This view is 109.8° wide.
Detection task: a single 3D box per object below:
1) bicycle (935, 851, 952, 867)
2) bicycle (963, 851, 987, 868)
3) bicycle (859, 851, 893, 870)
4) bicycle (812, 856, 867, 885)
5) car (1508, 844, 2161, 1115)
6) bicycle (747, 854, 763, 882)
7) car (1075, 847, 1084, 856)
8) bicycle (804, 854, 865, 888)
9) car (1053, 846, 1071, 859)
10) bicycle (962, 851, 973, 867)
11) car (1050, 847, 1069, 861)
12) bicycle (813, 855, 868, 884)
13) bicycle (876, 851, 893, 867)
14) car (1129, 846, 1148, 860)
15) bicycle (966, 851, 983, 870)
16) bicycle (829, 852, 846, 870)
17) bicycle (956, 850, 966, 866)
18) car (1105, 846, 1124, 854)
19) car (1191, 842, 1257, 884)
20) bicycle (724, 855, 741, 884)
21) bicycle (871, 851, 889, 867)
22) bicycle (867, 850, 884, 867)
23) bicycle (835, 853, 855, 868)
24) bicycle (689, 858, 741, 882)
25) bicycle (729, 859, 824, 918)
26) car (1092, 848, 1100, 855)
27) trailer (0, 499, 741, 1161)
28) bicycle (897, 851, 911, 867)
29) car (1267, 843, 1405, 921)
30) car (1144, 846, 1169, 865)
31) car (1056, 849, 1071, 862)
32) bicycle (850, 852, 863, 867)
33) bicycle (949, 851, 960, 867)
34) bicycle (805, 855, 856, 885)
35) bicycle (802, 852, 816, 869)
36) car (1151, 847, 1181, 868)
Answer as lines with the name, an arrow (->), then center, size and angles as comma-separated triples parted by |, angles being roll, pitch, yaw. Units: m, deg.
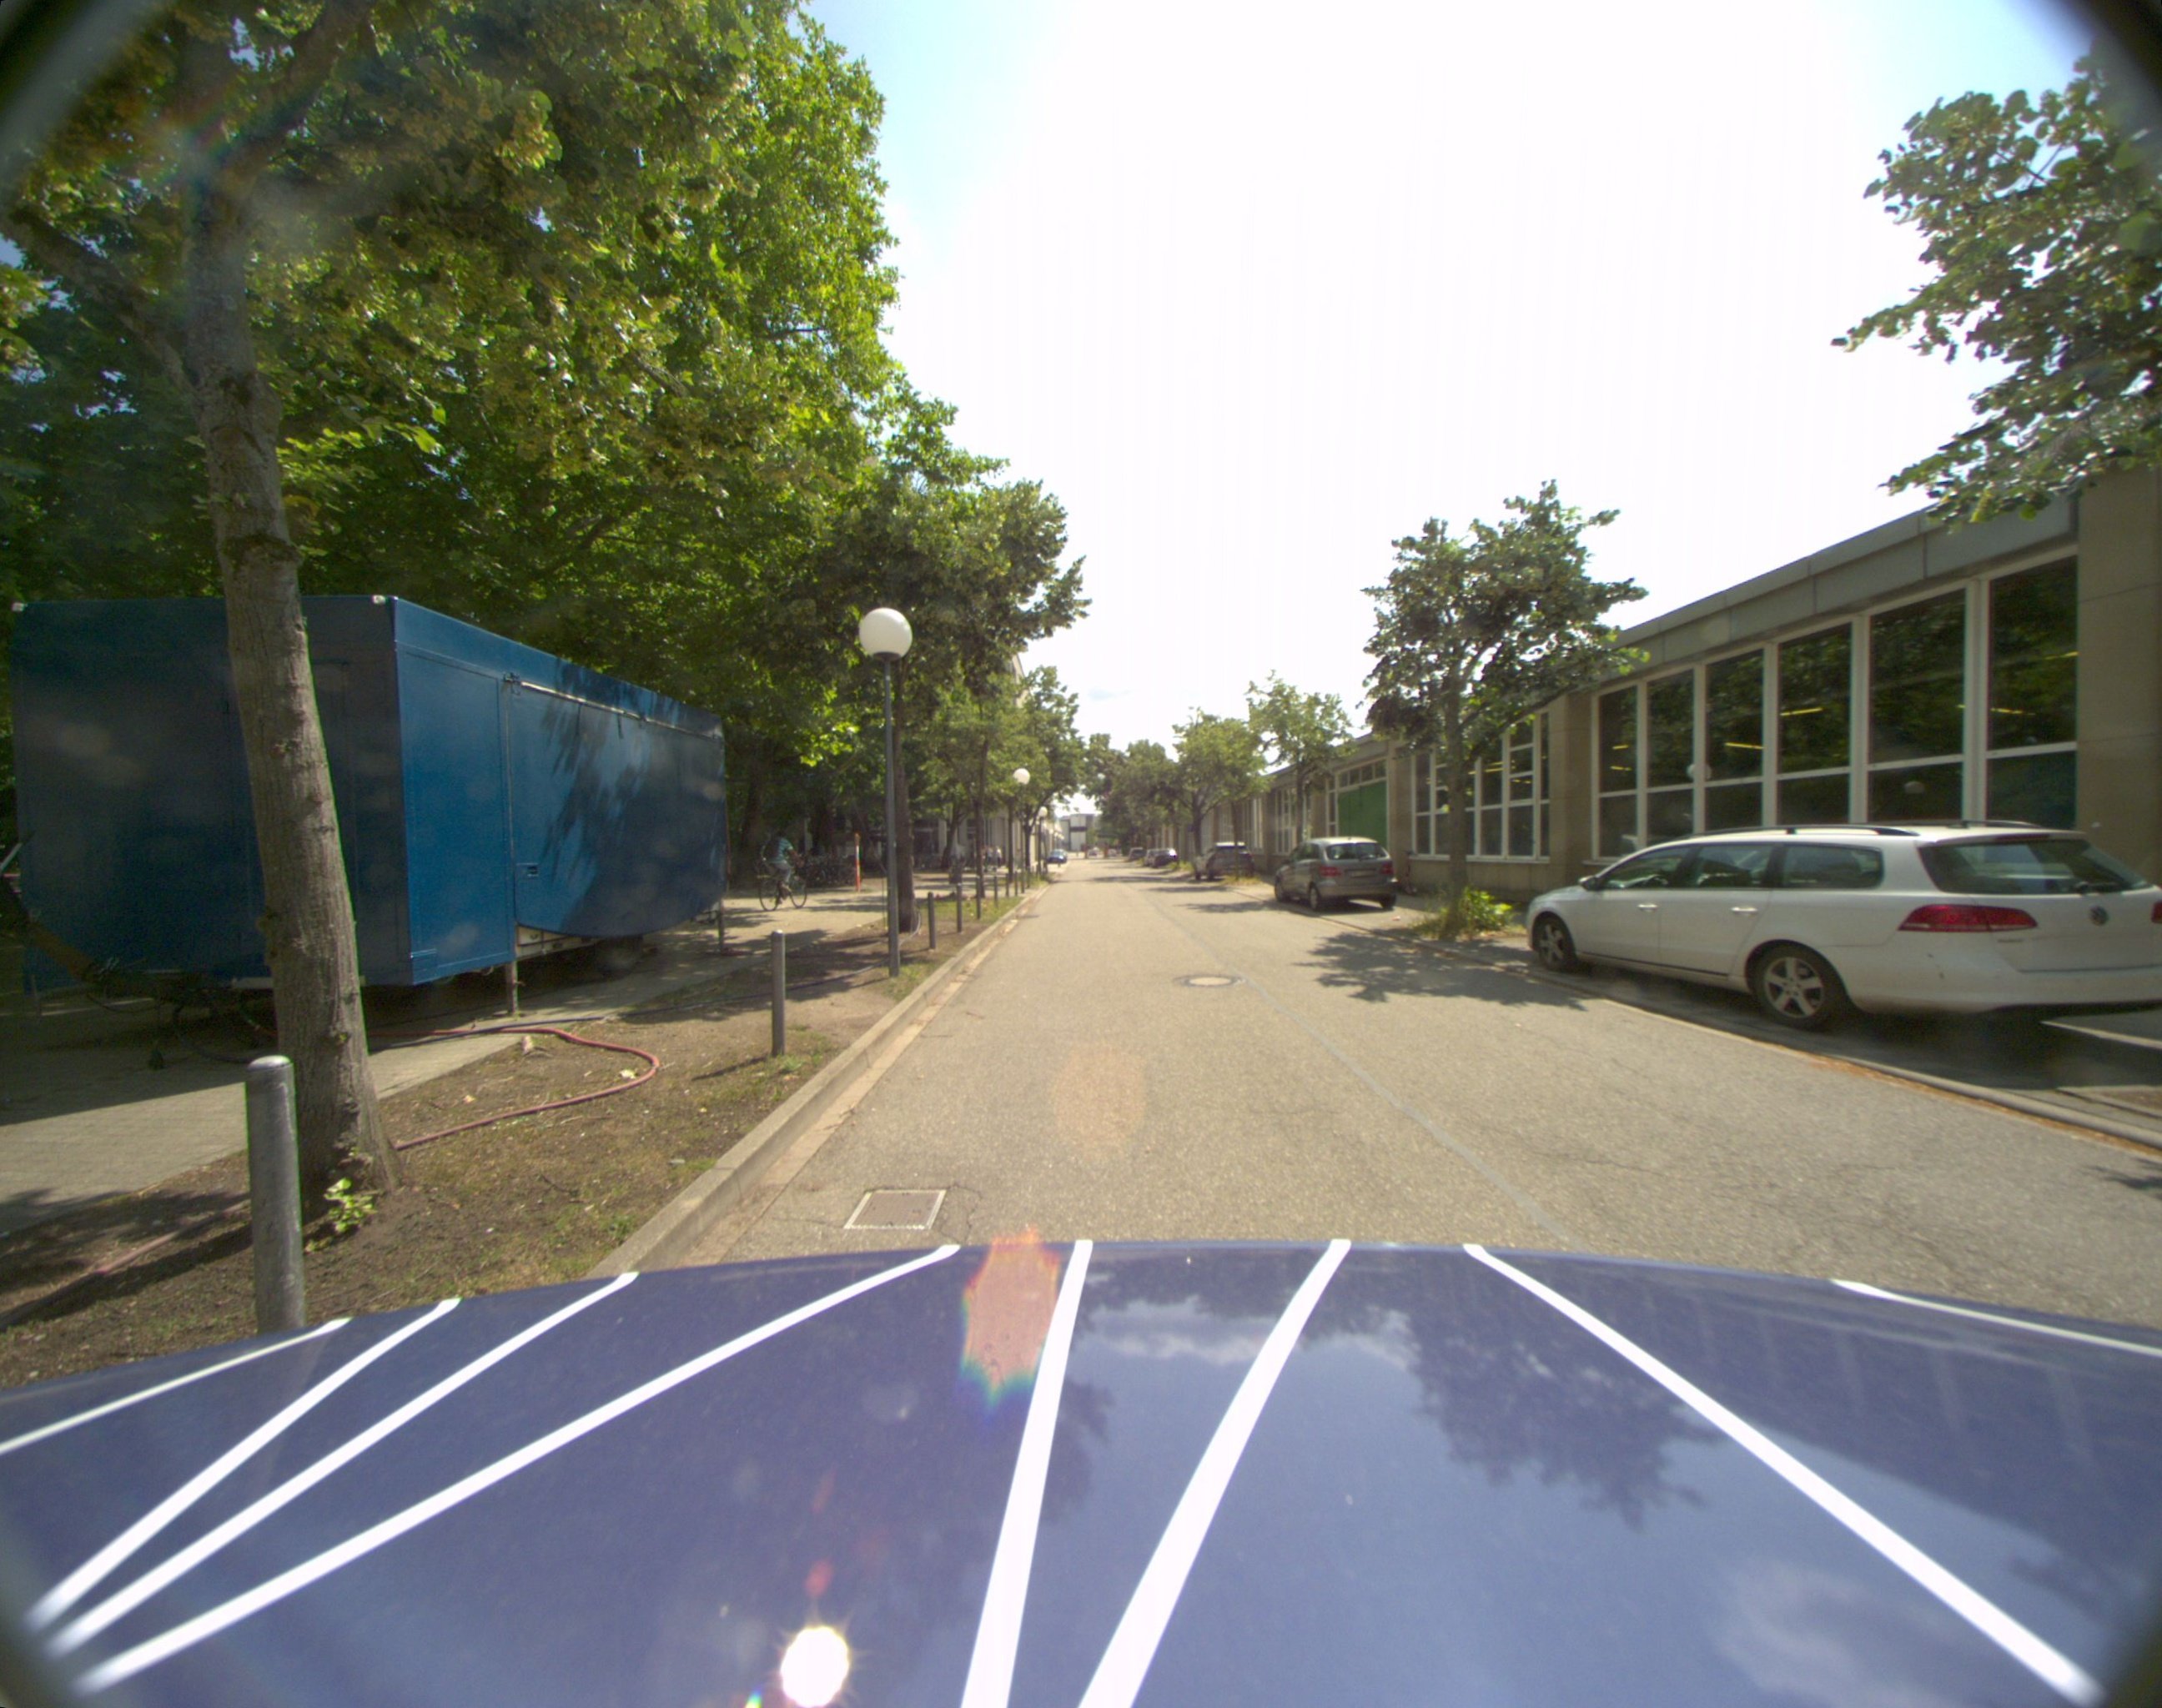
bicycle -> -9.760, 0.348, 54.055 | 0.491, 1.134, 1.529 | 1, -1, 20
bicycle -> -7.454, 0.394, 53.342 | 0.604, 1.135, 1.790 | 2, 2, 33
bicycle -> -12.942, 0.397, 47.979 | 1.928, 1.103, 0.631 | -2, 2, -36
bicycle -> -9.190, 0.607, 28.950 | 1.950, 1.076, 0.404 | 0, 1, -11
car -> 5.923, 0.681, 6.593 | 1.730, 1.448, 4.582 | -3, 1, -1
bicycle -> -13.064, 0.537, 30.461 | 0.479, 1.076, 1.900 | 0, 1, -20
car -> -0.266, -0.635, 176.850 | 1.998, 2.002, 4.000 | 2, 0, 1
bicycle -> -8.855, 0.600, 27.402 | 2.021, 1.160, 0.651 | 0, 1, -11
car -> -2.118, -0.133, 86.065 | 1.843, 1.390, 3.878 | 1, 0, 1
bicycle -> -8.094, 0.339, 54.094 | 0.561, 1.135, 1.489 | 1, 1, -2
car -> -2.268, -0.011, 80.364 | 1.843, 1.390, 3.878 | 1, 0, 1
bicycle -> -9.284, 0.596, 29.370 | 1.950, 1.076, 0.404 | 0, 1, -11
bicycle -> -13.958, 0.339, 54.084 | 0.627, 1.118, 1.697 | 1, -1, 6
car -> 6.434, -0.134, 85.024 | 1.803, 1.441, 3.675 | -3, 1, 0
bicycle -> -6.723, 0.384, 47.822 | 0.629, 1.078, 1.684 | -3, 4, -22
bicycle -> -15.140, 0.423, 47.215 | 0.476, 1.103, 1.665 | -2, 2, -36
bicycle -> -9.798, 0.339, 62.192 | 0.531, 1.235, 1.829 | 0, 2, 0
car -> 6.787, -0.883, 154.898 | 3.674, 1.441, 1.804 | -3, 1, -1
car -> 6.220, 0.336, 33.490 | 1.826, 1.623, 4.515 | -3, 1, -2
bicycle -> -13.771, 0.584, 30.058 | 0.479, 1.076, 1.900 | 0, 1, -20
bicycle -> -13.638, 0.339, 51.620 | 0.463, 1.071, 1.829 | 1, -1, 8
bicycle -> -14.667, 0.340, 54.276 | 0.627, 1.143, 1.697 | 1, -1, 2
bicycle -> -16.821, 0.440, 54.126 | 0.617, 1.041, 1.697 | -3, 0, 8
bicycle -> -15.309, 0.654, 31.813 | 0.477, 0.973, 1.908 | 1, 1, 42
bicycle -> -6.525, 0.703, 16.447 | 0.651, 1.117, 2.298 | 2, 1, 14
car -> 3.453, -0.642, 175.321 | 1.803, 1.441, 3.676 | -3, 1, 0
trailer -> -5.678, -0.139, 6.599 | 2.698, 3.034, 6.256 | 0, 1, -1
bicycle -> -12.614, 0.340, 54.176 | 0.481, 1.118, 1.697 | 1, -1, 6
car -> 5.869, 0.561, 18.061 | 1.762, 1.547, 4.112 | -3, 1, -1
car -> 6.232, 0.084, 62.844 | 1.634, 1.441, 3.752 | -3, 1, 0
car -> -2.318, 0.197, 100.939 | 1.799, 1.691, 4.000 | 2, 0, 1
bicycle -> -16.010, 0.401, 54.160 | 0.568, 1.041, 1.695 | -3, 0, -7
bicycle -> -9.020, 0.364, 54.352 | 0.561, 1.134, 1.489 | 1, -1, -2
bicycle -> -9.388, 0.599, 28.526 | 1.773, 1.076, 0.438 | 0, 1, -11
bicycle -> -19.455, 0.476, 54.447 | 0.454, 1.123, 1.688 | -3, 0, -4
car -> 6.348, 0.254, 57.098 | 1.729, 1.427, 4.289 | -3, 0, 0
